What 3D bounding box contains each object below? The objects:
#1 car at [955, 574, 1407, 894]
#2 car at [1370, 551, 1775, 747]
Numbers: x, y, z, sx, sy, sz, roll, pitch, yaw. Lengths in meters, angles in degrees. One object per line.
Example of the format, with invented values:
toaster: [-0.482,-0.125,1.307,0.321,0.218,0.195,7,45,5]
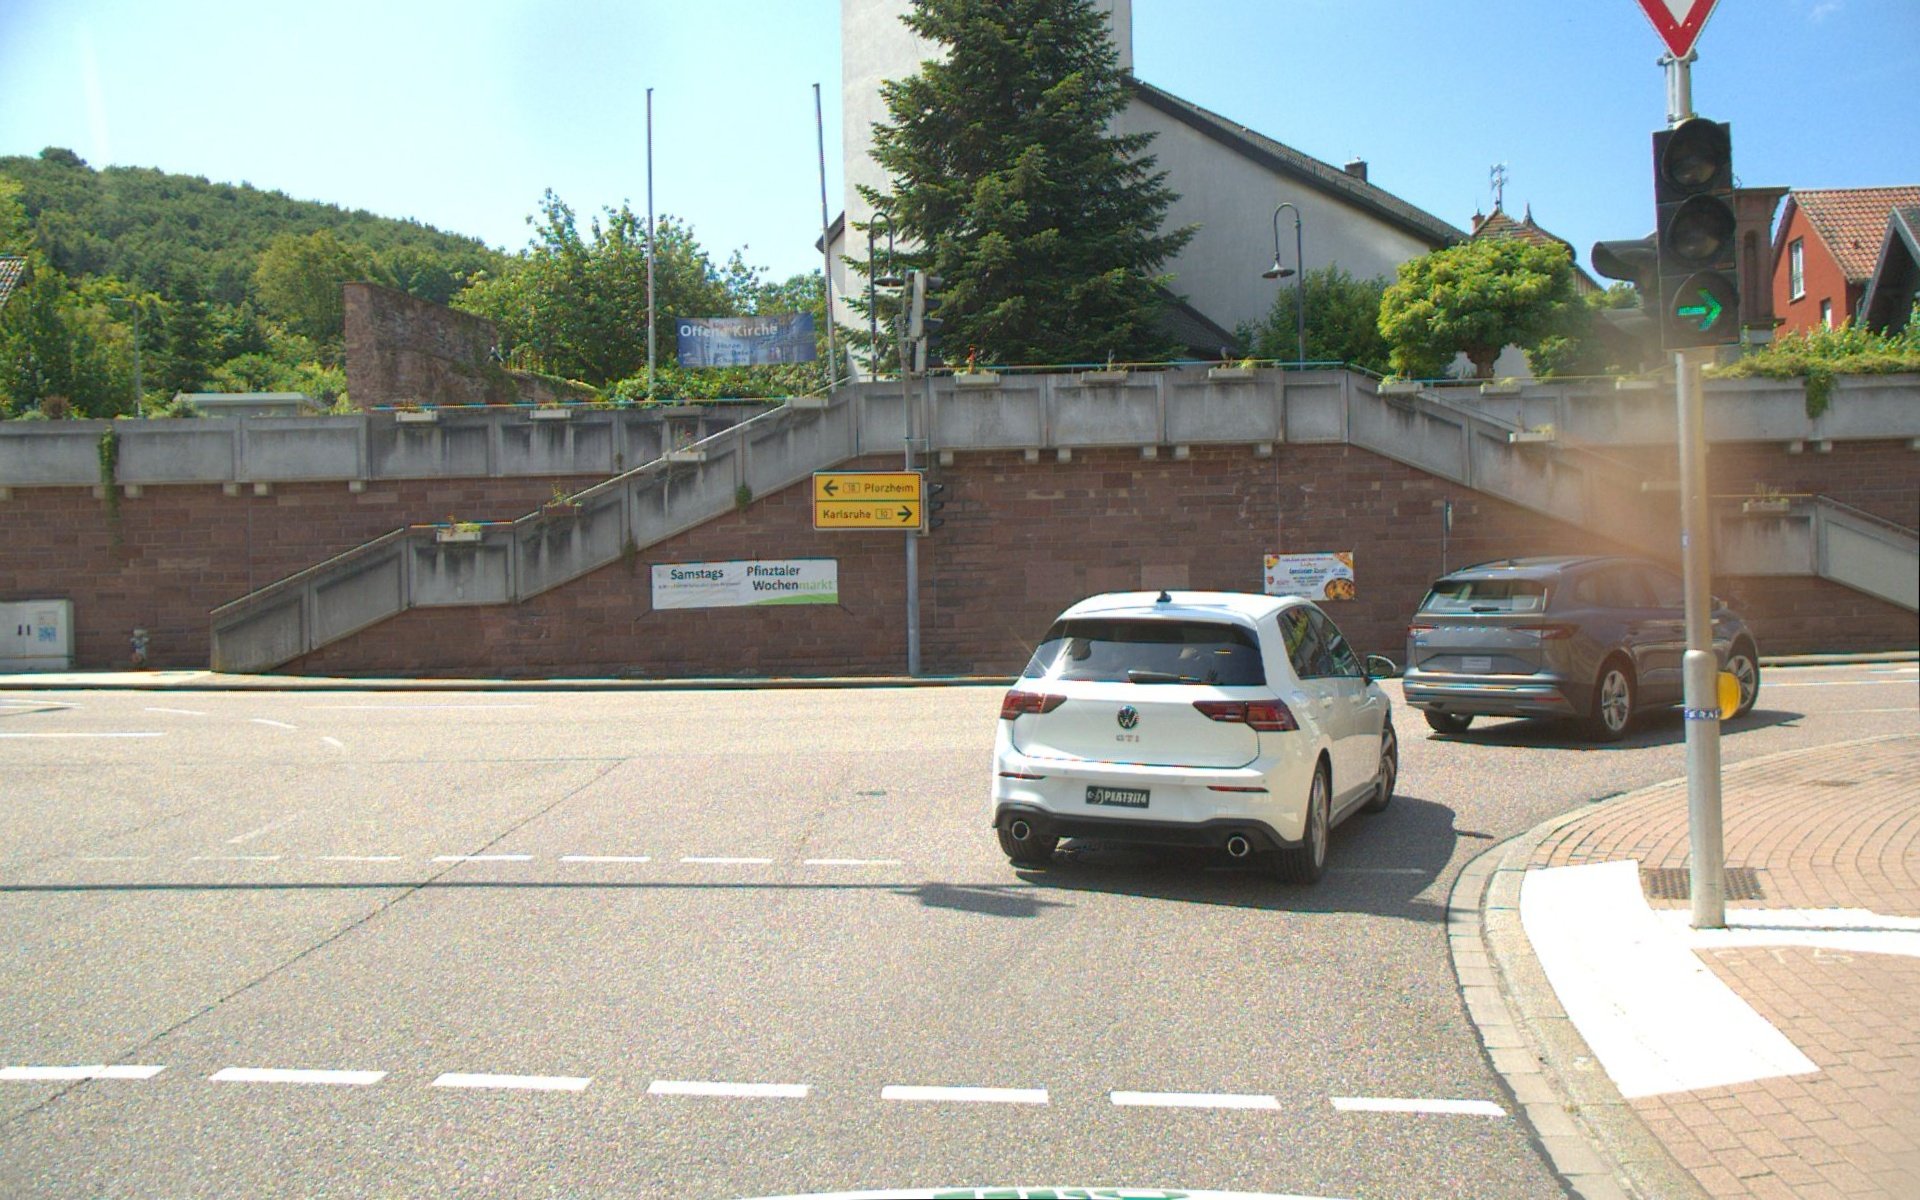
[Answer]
car: [1.510,0.632,9.795,1.746,1.484,3.863,-2,0,22]
car: [5.986,0.368,15.928,4.290,1.610,1.925,-2,1,-42]
